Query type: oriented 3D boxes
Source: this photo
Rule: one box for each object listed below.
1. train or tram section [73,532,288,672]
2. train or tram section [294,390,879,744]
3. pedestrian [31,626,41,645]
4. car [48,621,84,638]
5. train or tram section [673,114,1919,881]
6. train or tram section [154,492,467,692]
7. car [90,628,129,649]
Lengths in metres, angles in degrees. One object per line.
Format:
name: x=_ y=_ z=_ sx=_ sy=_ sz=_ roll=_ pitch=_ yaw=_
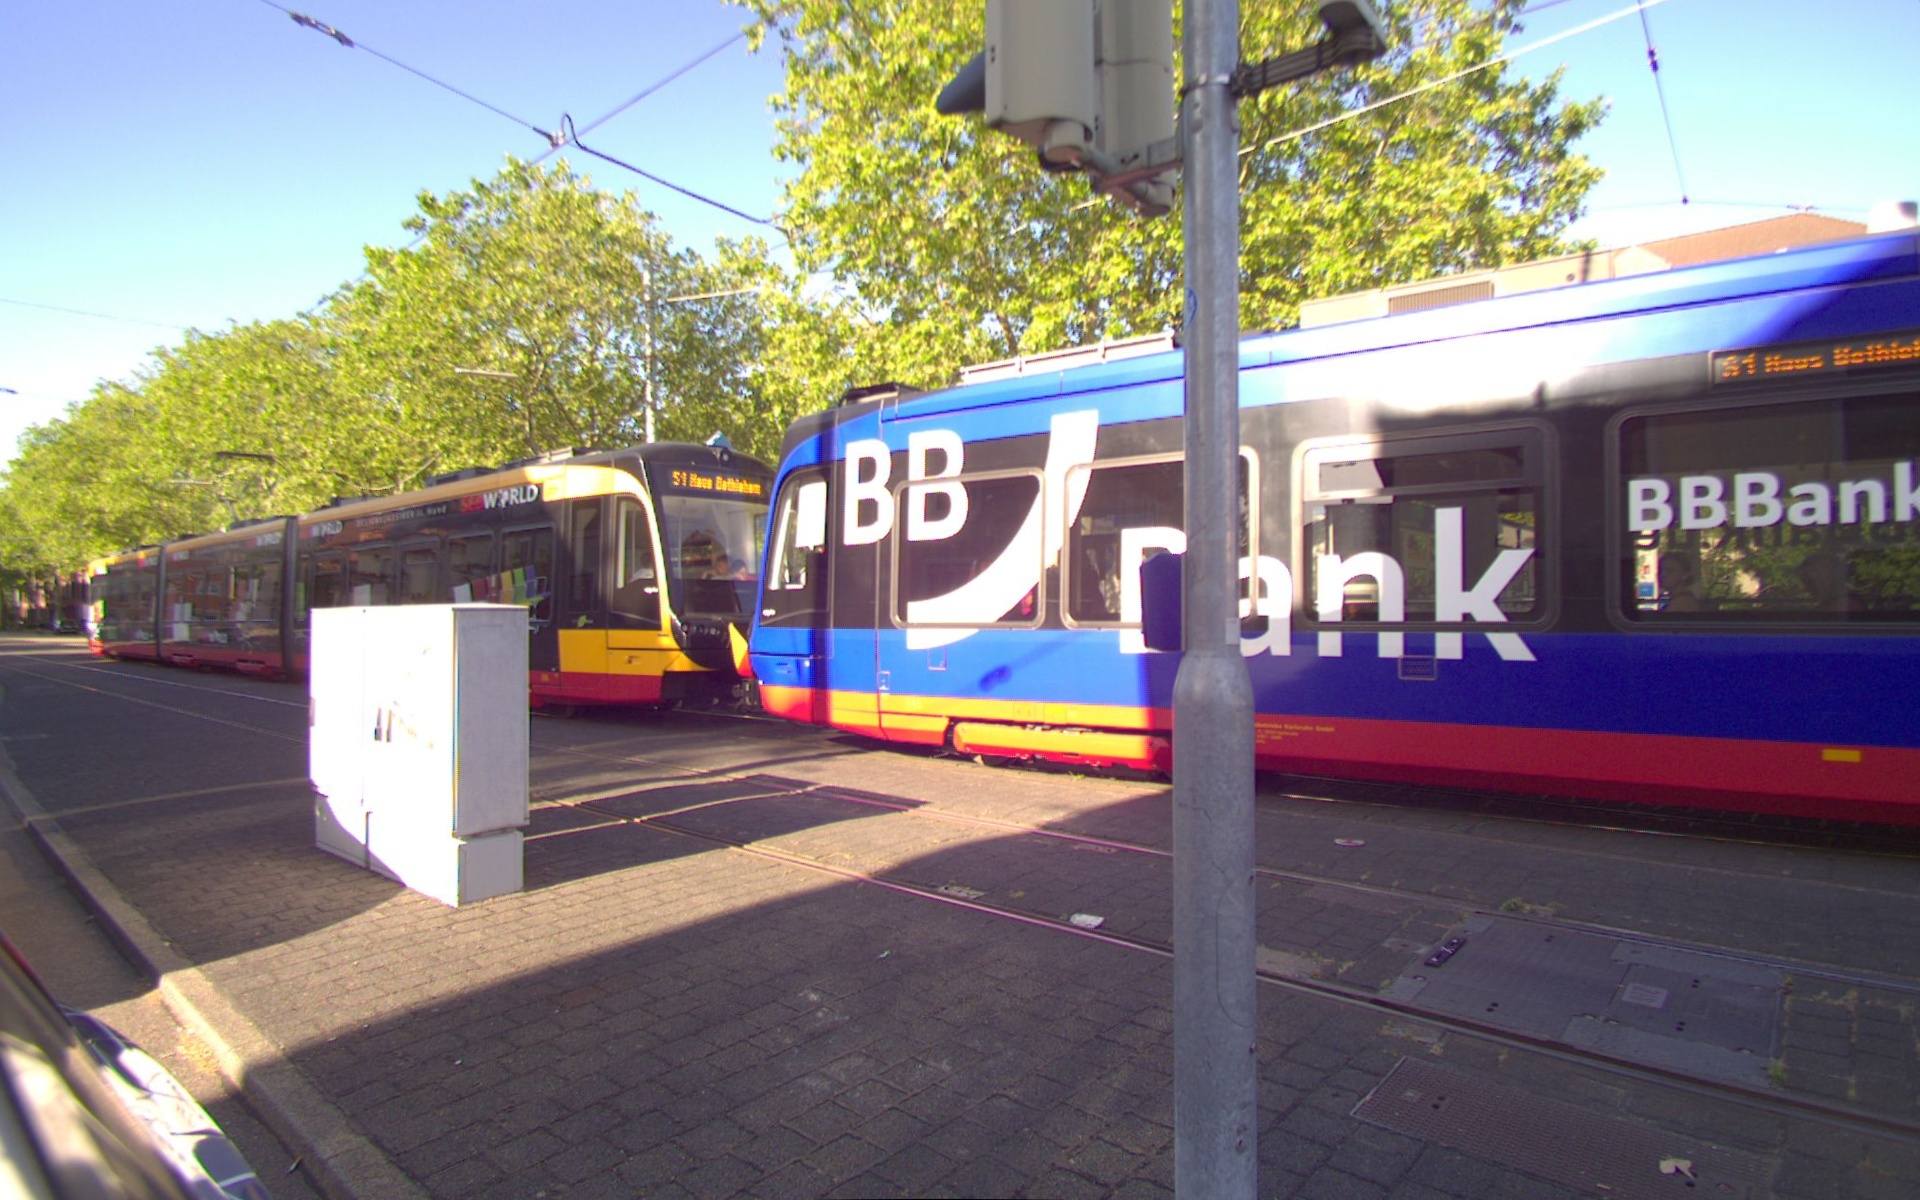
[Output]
train or tram section: x=-24.803 y=0.177 z=31.772 sx=12.885 sy=3.640 sz=3.023 roll=-1 pitch=-2 yaw=42
train or tram section: x=-6.552 y=-0.234 z=15.547 sx=12.108 sy=3.640 sz=3.023 roll=-1 pitch=-2 yaw=41
pedestrian: x=-81.727 y=3.168 z=89.505 sx=0.677 sy=1.654 sz=0.570 roll=-1 pitch=-2 yaw=43
car: x=-85.150 y=2.814 z=96.375 sx=3.995 sy=1.563 sz=1.859 roll=-1 pitch=-1 yaw=38
train or tram section: x=2.797 y=-0.422 z=7.983 sx=12.091 sy=3.640 sz=3.027 roll=-1 pitch=-1 yaw=37
train or tram section: x=-15.537 y=-0.037 z=23.519 sx=11.945 sy=3.640 sz=3.023 roll=-1 pitch=-2 yaw=42
car: x=-66.889 y=3.000 z=79.543 sx=4.000 sy=1.563 sz=1.857 roll=-1 pitch=-2 yaw=43
